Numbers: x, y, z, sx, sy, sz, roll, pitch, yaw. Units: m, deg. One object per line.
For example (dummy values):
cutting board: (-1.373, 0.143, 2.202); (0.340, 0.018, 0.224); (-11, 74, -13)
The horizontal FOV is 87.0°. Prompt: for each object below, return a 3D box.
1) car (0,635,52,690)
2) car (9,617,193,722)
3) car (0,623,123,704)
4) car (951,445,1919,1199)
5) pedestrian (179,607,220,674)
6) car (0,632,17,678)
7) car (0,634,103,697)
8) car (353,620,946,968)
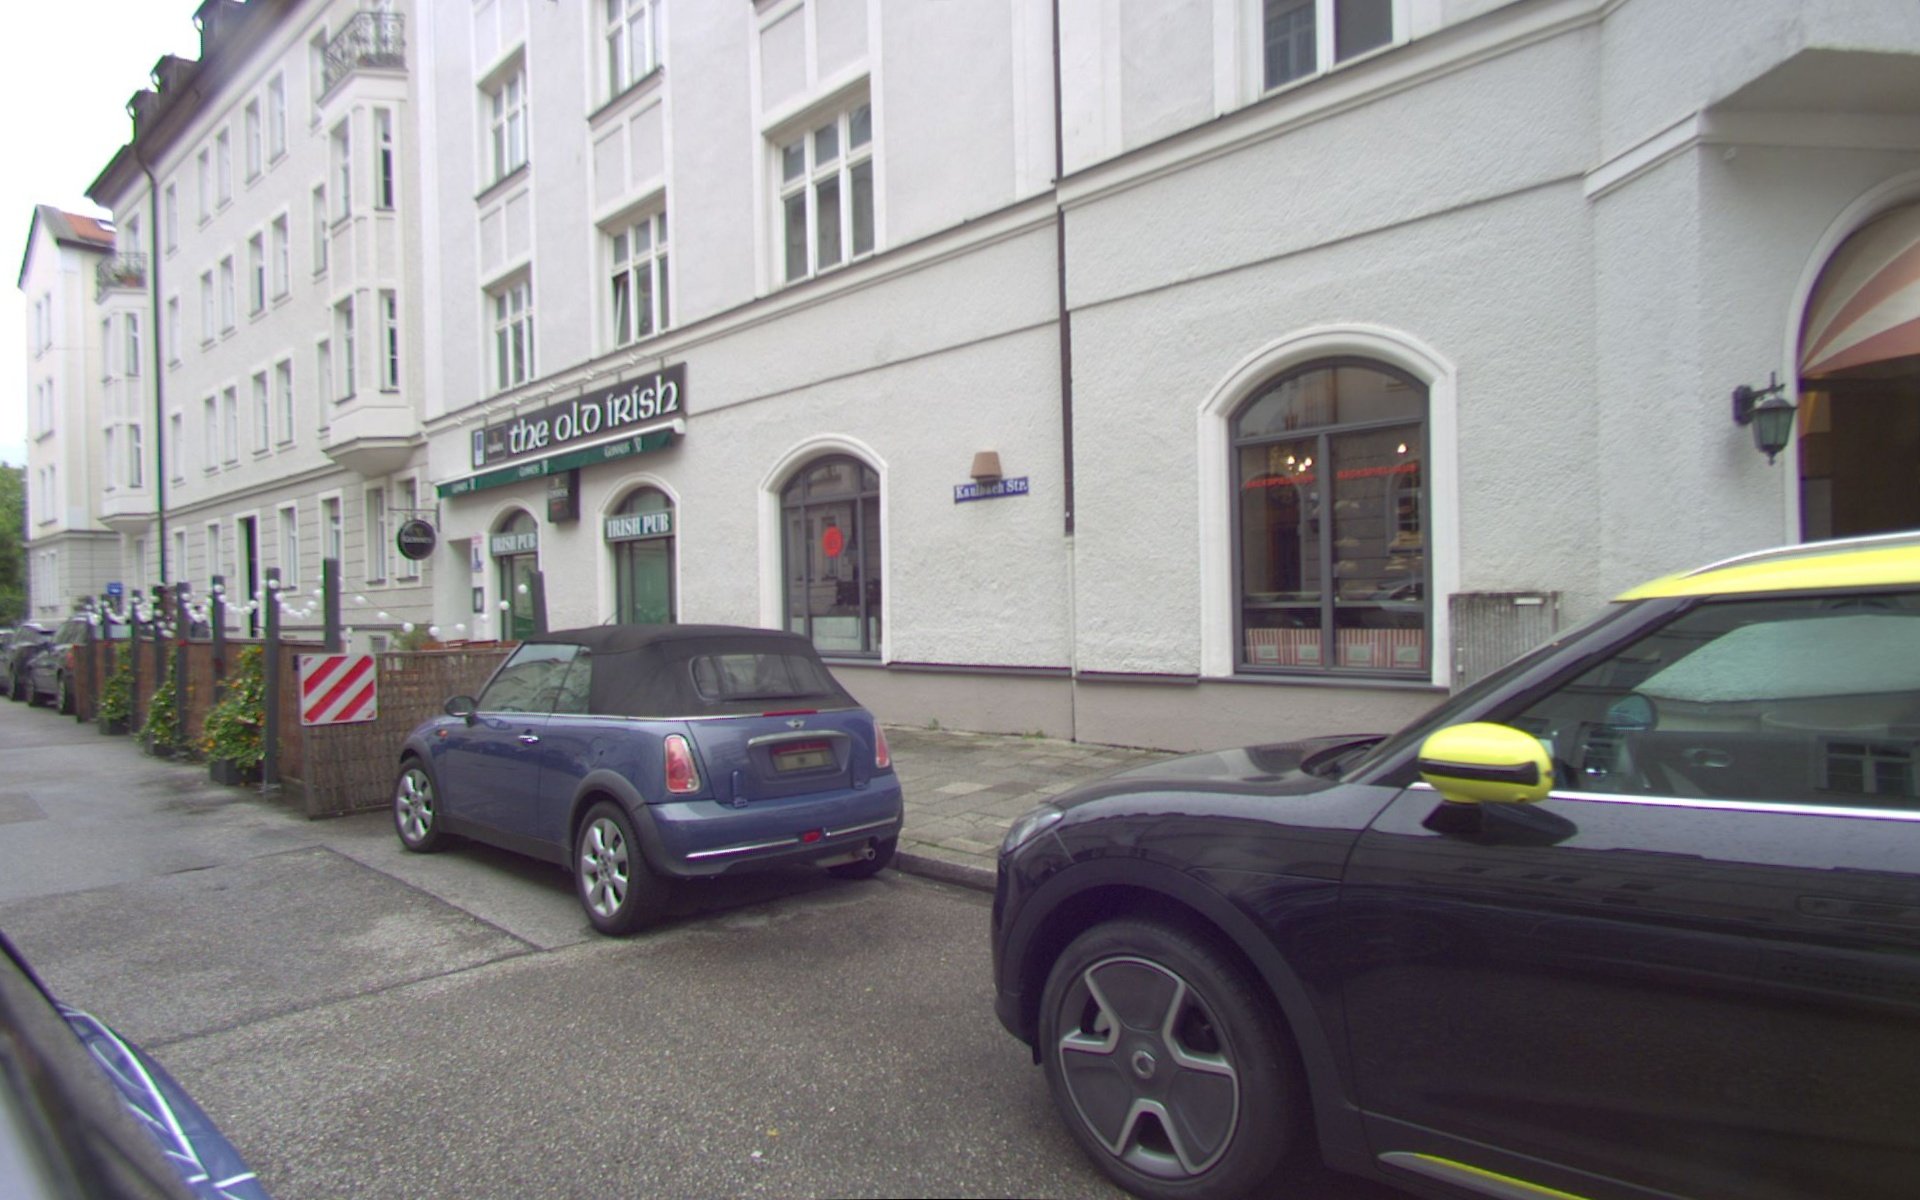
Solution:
car: (-26.942, 1.695, 28.219); (4.506, 1.430, 1.776); (-1, -3, 40)
car: (-15.637, 1.211, 18.358); (4.270, 1.686, 1.729); (-2, -4, 39)
car: (-19.313, 1.279, 21.382); (4.177, 1.498, 1.725); (-2, 0, 39)
car: (1.989, 0.591, 2.062); (3.943, 1.609, 1.659); (-1, -2, 42)
pedestrian: (-20.231, 1.060, 26.931); (0.654, 1.720, 0.702); (-2, 0, -17)
car: (-31.499, 1.764, 31.912); (4.695, 1.377, 1.832); (-2, 0, 38)
car: (-22.785, 1.545, 24.762); (4.435, 1.396, 1.794); (-2, -2, 36)
car: (-2.094, 0.834, 6.095); (4.001, 1.401, 1.688); (-2, -2, 44)
